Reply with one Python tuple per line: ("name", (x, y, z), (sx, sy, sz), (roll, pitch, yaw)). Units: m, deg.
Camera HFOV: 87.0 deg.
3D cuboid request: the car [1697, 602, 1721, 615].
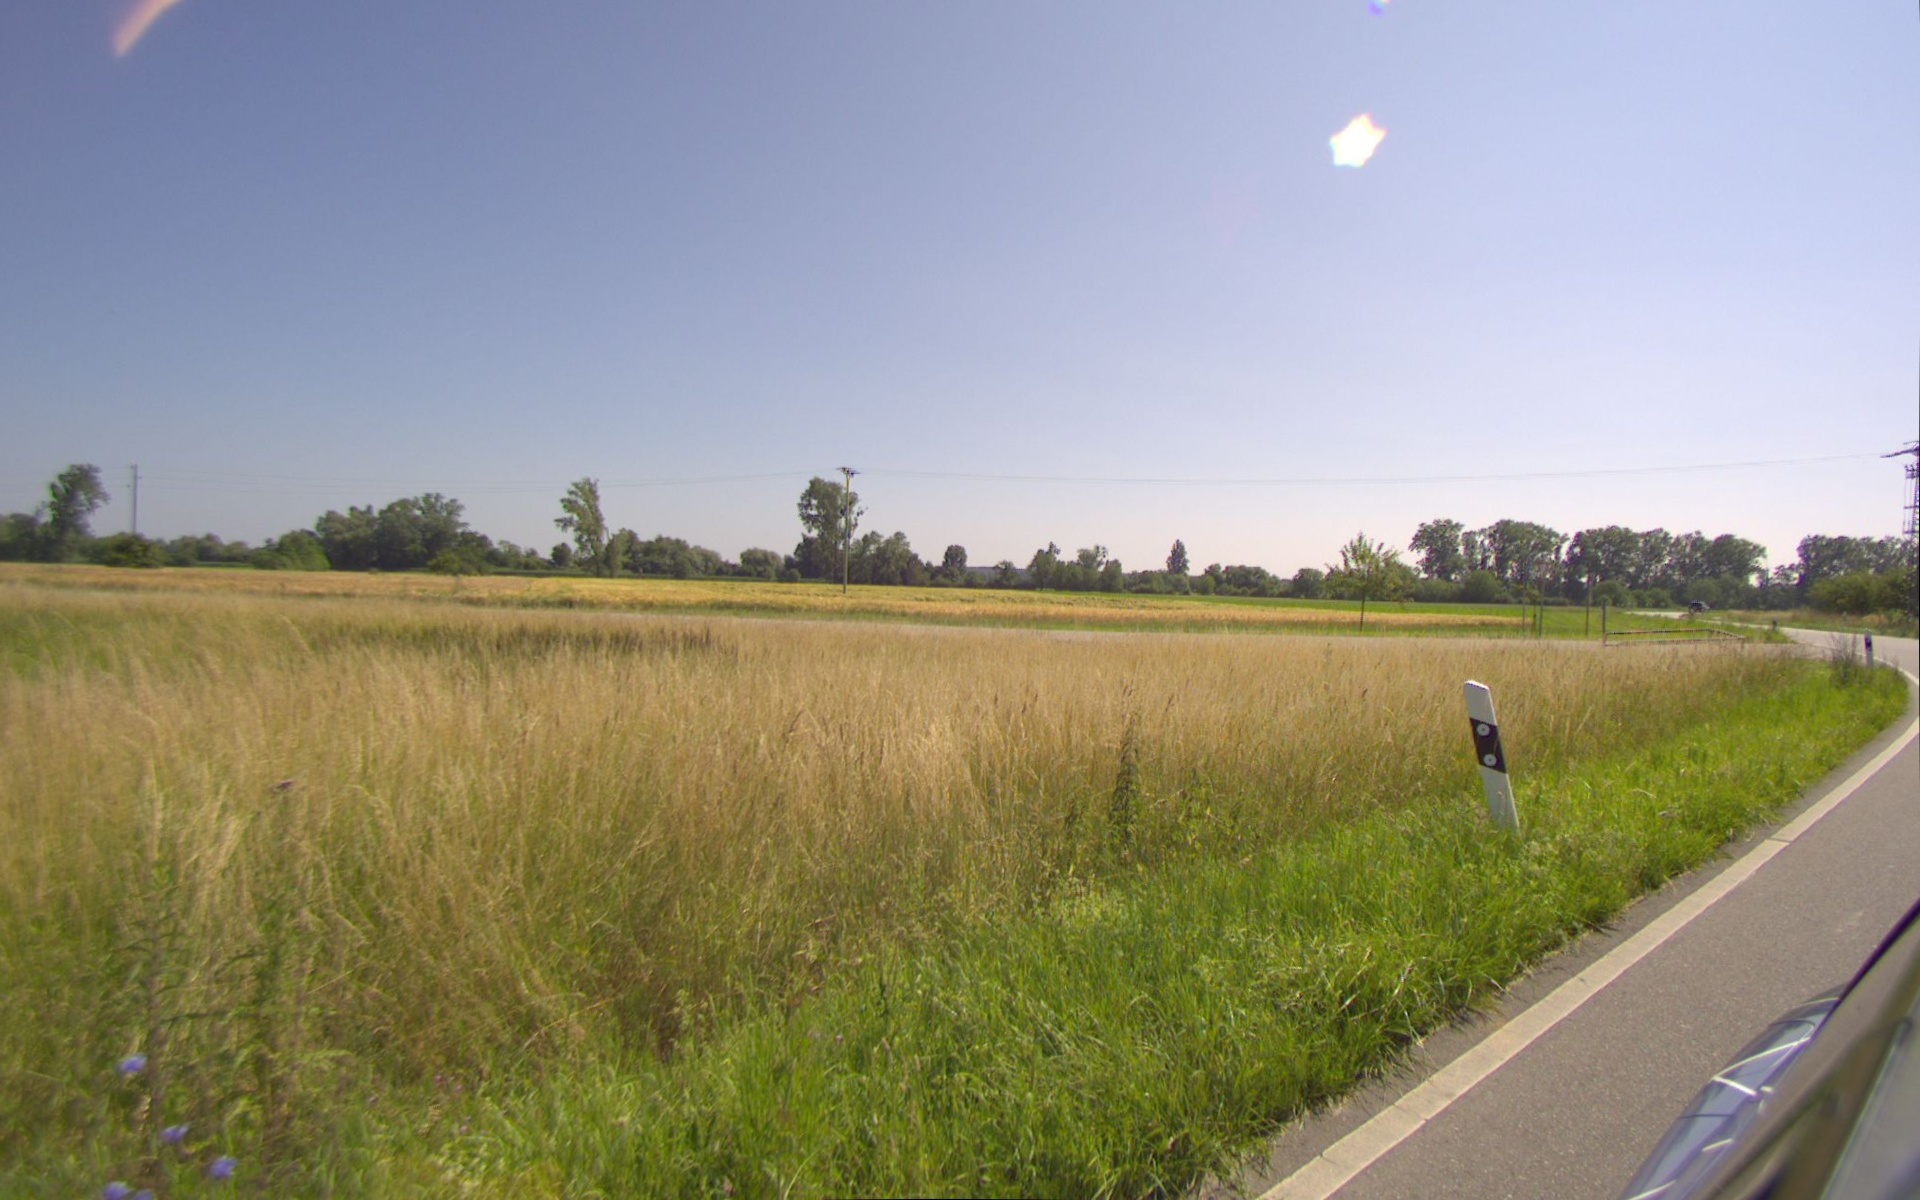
("car", (107.883, 1.205, 145.686), (4.221, 1.774, 1.870), (1, 2, -41))
